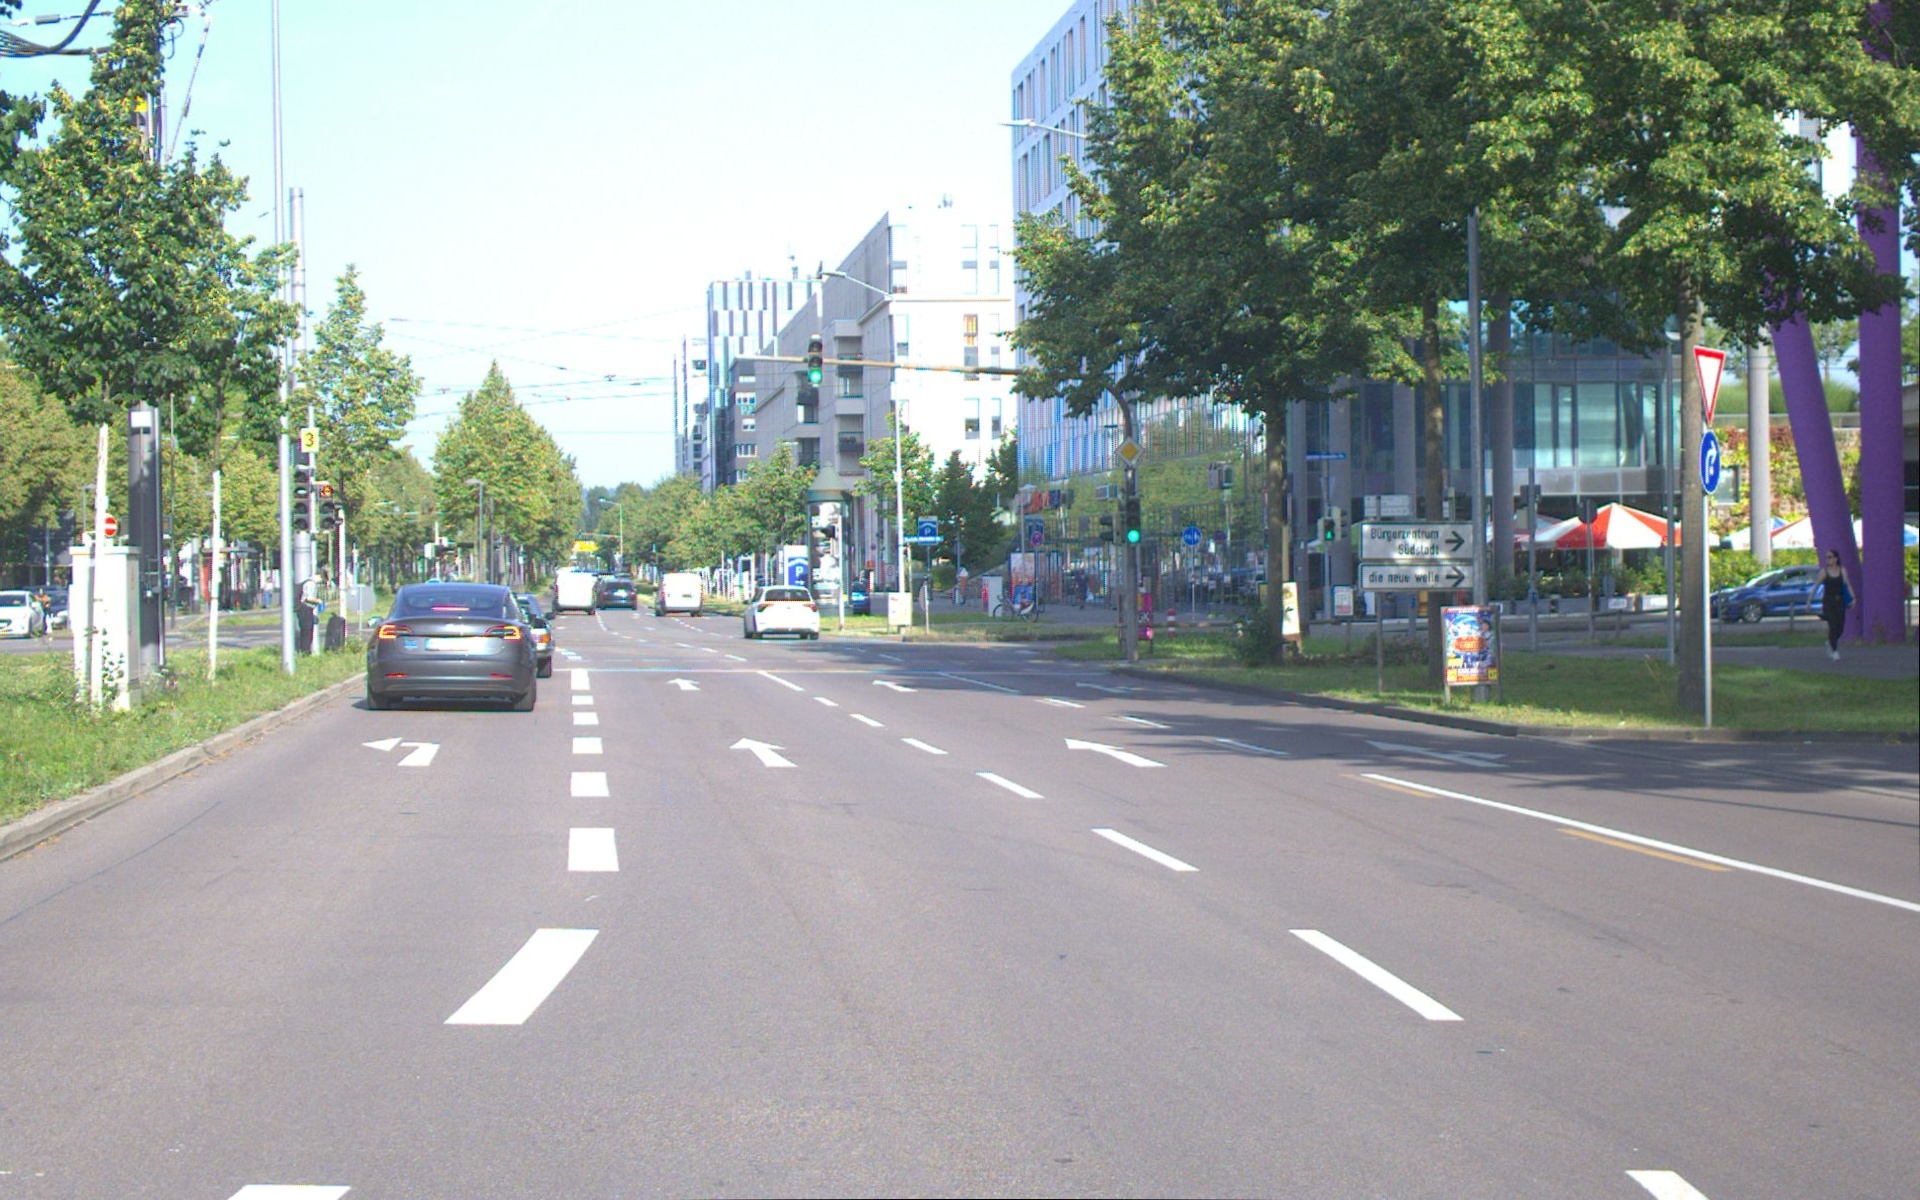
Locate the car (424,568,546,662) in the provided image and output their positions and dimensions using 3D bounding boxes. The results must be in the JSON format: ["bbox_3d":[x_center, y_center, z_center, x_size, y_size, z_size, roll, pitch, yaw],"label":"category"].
[{"bbox_3d":[-7.321,0.201,53.138,1.763,1.325,4.401,1,1,-7],"label":"car"}]

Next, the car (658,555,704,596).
[{"bbox_3d":[-11.901,-1.056,146.596,1.864,1.678,4.001,1,1,-6],"label":"car"}]

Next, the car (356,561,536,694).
[{"bbox_3d":[-5.816,0.273,39.158,1.889,1.381,4.336,1,1,-8],"label":"car"}]

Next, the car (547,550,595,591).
[{"bbox_3d":[-16.831,-1.283,148.888,2.014,1.678,4.001,1,1,-6],"label":"car"}]

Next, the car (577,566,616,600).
[{"bbox_3d":[-19.277,-0.905,182.198,1.923,1.678,4.001,1,1,-8],"label":"car"}]

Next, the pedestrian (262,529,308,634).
[{"bbox_3d":[-11.606,-0.322,59.124,0.699,1.786,0.635,1,0,-6],"label":"pedestrian"}]

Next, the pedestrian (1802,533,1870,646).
[{"bbox_3d":[13.023,-0.164,51.094,0.694,1.633,0.737,-3,1,-7],"label":"pedestrian"}]

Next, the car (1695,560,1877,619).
[{"bbox_3d":[21.496,-0.285,89.539,4.183,1.419,1.859,-1,1,-7],"label":"car"}]

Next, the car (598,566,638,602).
[{"bbox_3d":[-16.806,-0.805,168.909,1.923,1.678,4.001,1,1,-6],"label":"car"}]

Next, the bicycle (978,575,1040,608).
[{"bbox_3d":[1.535,-0.273,108.693,1.877,1.029,0.772,0,1,41],"label":"bicycle"}]

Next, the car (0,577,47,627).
[{"bbox_3d":[-29.547,0.055,106.077,1.993,1.499,4.094,-1,0,-6],"label":"car"}]

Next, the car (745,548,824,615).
[{"bbox_3d":[-4.667,-0.512,90.932,1.864,1.678,4.001,1,1,-6],"label":"car"}]
